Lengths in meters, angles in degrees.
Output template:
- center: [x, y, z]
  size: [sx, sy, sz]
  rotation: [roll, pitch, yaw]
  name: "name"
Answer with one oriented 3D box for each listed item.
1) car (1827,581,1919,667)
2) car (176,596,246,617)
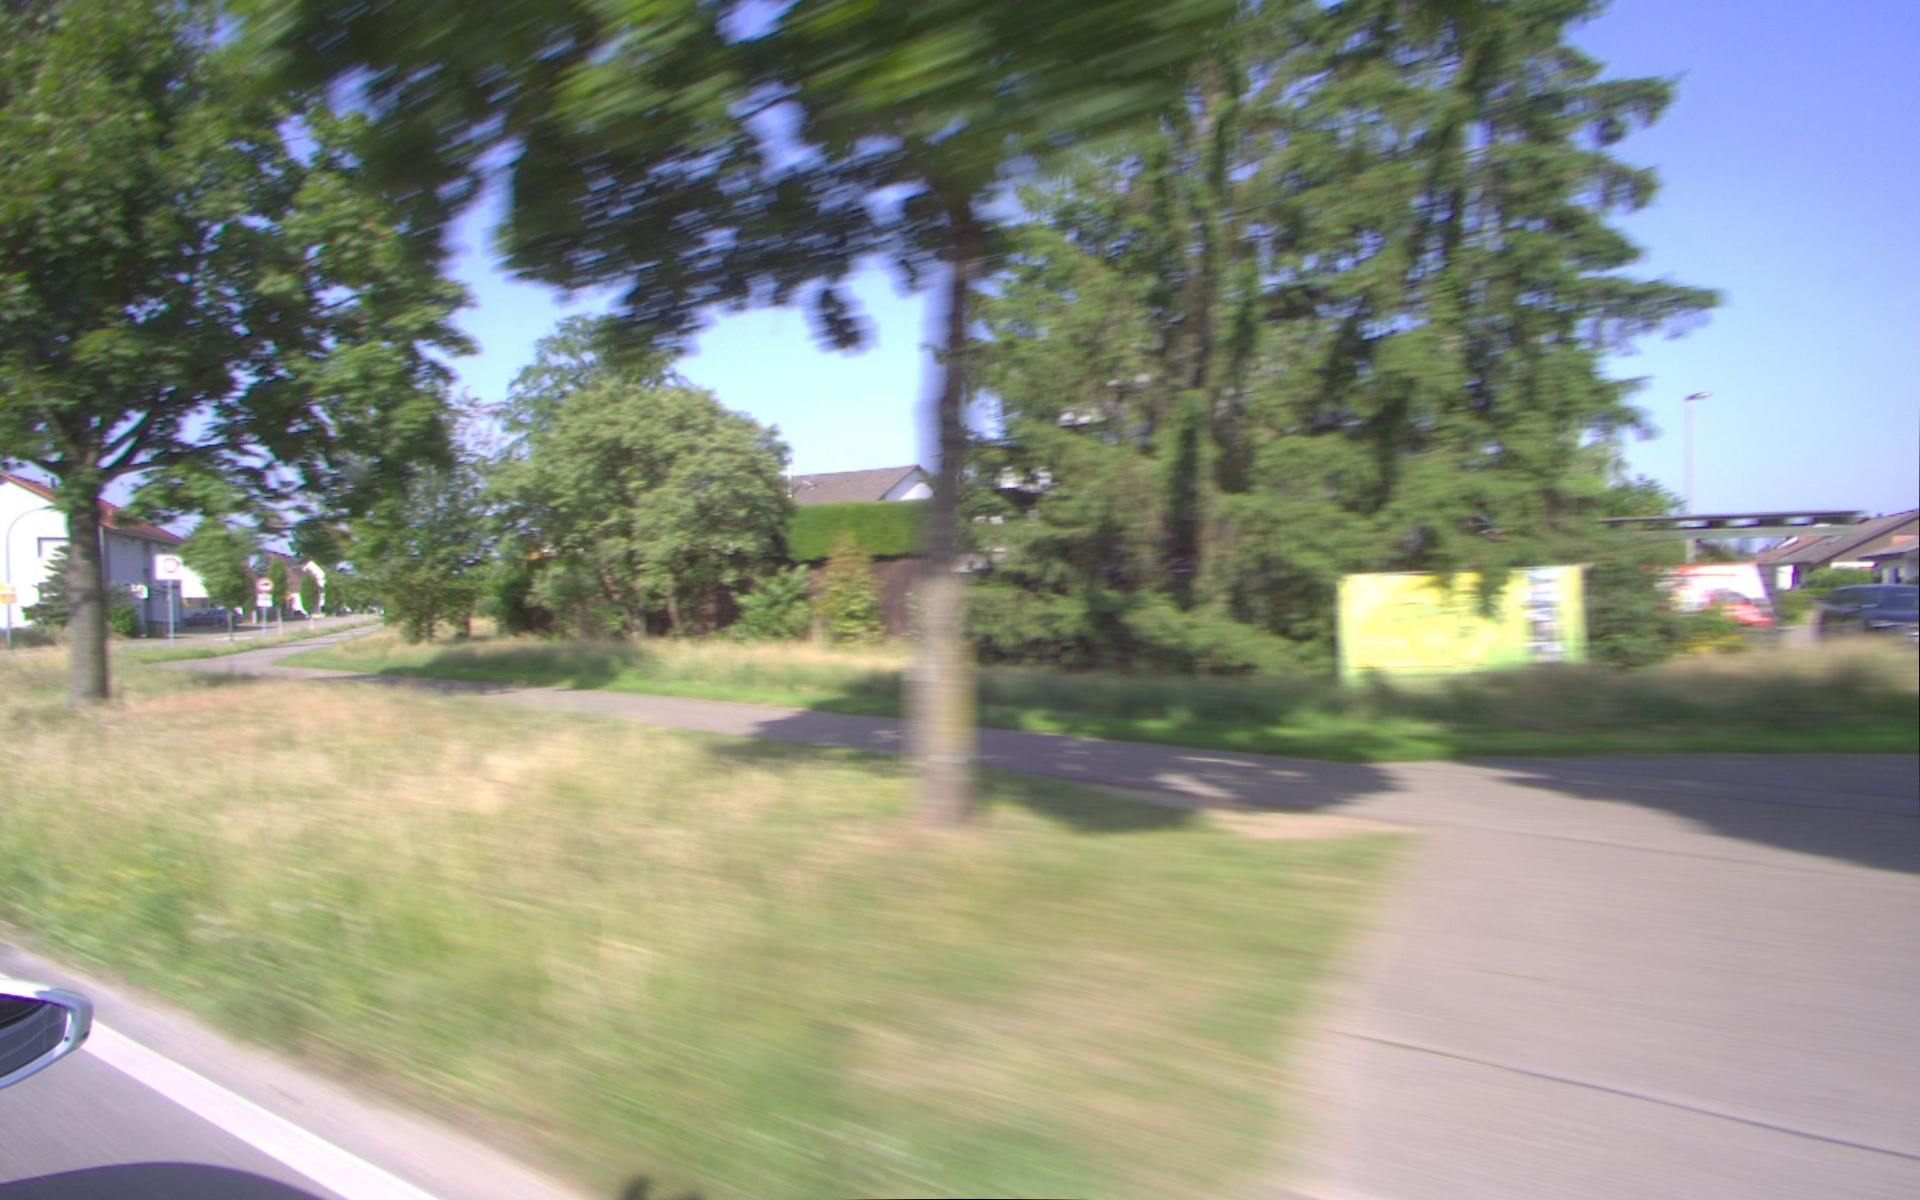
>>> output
- center: [19.980, 0.479, 21.195]
  size: [1.813, 1.684, 3.920]
  rotation: [0, 0, 31]
  name: "car"
- center: [-63.045, 0.553, 84.345]
  size: [4.386, 1.720, 1.766]
  rotation: [1, -1, -22]
  name: "car"
